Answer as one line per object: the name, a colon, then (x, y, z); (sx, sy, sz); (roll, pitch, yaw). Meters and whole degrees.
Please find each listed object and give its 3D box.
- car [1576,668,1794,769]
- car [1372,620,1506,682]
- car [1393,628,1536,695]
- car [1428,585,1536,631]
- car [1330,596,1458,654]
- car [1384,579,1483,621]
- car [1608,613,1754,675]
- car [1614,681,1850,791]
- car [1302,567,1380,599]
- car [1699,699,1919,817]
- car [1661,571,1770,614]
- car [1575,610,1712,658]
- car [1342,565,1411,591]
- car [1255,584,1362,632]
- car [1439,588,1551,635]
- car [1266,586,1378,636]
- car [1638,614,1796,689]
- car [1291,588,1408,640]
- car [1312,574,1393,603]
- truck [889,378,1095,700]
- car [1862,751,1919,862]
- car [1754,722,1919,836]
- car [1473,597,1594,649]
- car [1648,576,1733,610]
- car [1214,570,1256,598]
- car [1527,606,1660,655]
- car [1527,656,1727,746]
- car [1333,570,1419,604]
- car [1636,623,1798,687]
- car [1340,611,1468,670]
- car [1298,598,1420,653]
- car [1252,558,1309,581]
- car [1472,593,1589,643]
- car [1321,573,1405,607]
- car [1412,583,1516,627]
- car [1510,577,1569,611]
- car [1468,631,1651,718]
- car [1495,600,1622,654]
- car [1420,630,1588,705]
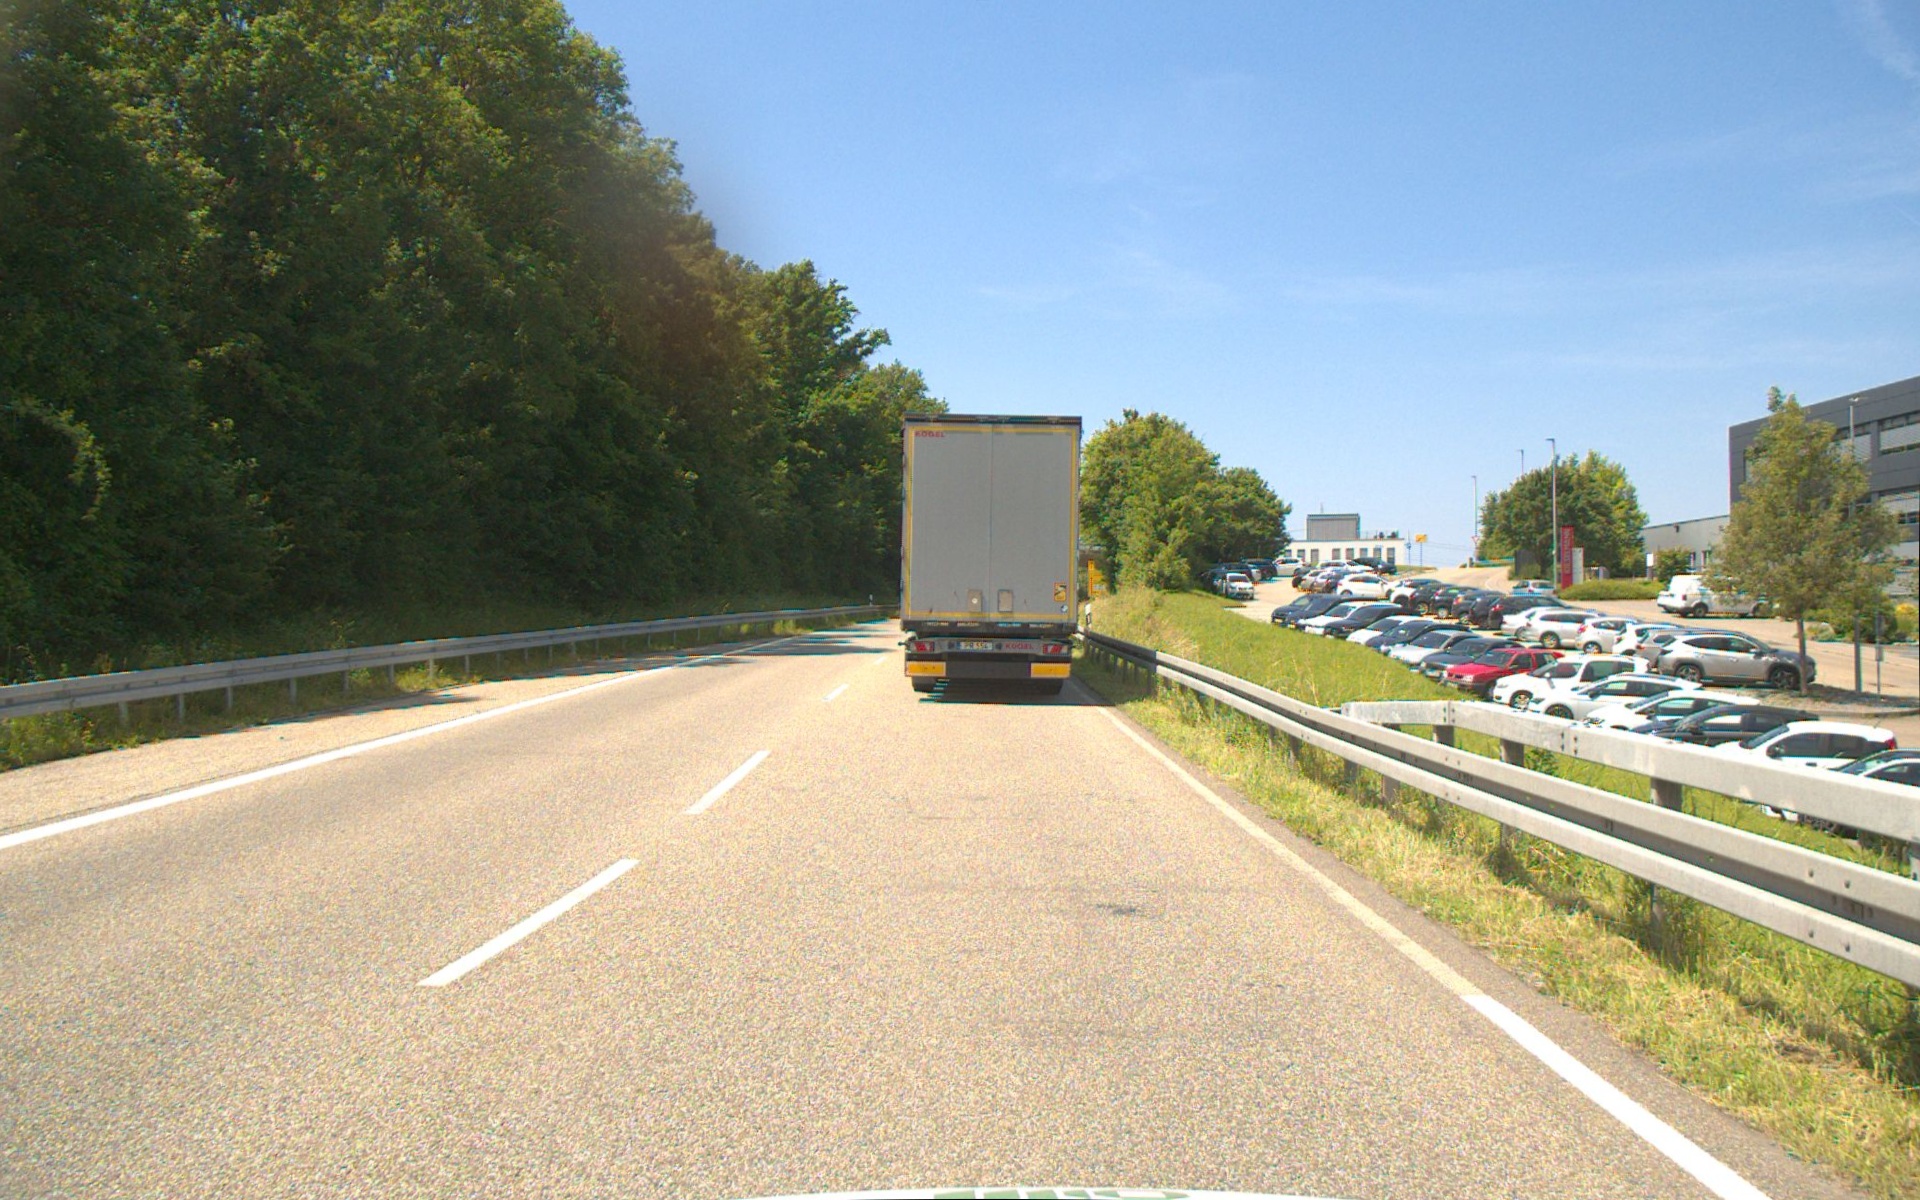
car: (16.325, 2.628, 37.358); (4.279, 1.585, 1.887); (6, 3, 24)
car: (15.646, 1.666, 53.910); (4.329, 1.714, 1.865); (3, 3, -37)
car: (15.385, 1.877, 50.379); (4.329, 1.714, 1.865); (3, 3, -37)
car: (24.577, 0.359, 77.932); (4.486, 1.656, 1.818); (7, 3, 27)
car: (15.822, 0.931, 60.272); (4.313, 1.714, 1.872); (4, 3, -29)
car: (24.137, -0.028, 84.311); (4.486, 1.656, 1.818); (7, 3, 27)
car: (24.815, 1.483, 56.970); (4.482, 1.656, 1.820); (3, 7, 26)
car: (16.154, 2.803, 34.785); (4.279, 1.585, 1.887); (6, 3, 24)
car: (23.636, -1.072, 102.594); (4.479, 1.656, 1.821); (4, 3, 21)
car: (16.569, 3.003, 31.682); (4.279, 1.585, 1.861); (6, 3, 24)
car: (36.767, -0.380, 80.581); (4.477, 1.983, 1.821); (0, 2, 1)
car: (24.790, 1.238, 60.000); (4.481, 1.503, 1.820); (-1, 4, 26)
car: (30.374, -1.601, 120.765); (4.494, 1.657, 1.814); (3, 0, 35)
car: (15.265, 0.363, 72.429); (4.313, 1.714, 1.872); (4, 3, -29)
car: (24.226, 0.505, 74.931); (4.486, 1.656, 1.818); (7, 3, 27)
car: (15.190, 0.471, 69.361); (4.313, 1.714, 1.872); (4, 3, -29)
car: (24.687, 1.649, 53.990); (4.485, 1.654, 1.821); (6, 11, 26)
car: (15.654, 0.561, 66.395); (4.313, 1.714, 1.872); (4, 3, -29)
car: (23.623, -0.690, 99.500); (4.478, 1.657, 1.821); (2, 1, 21)
truck: (0.433, -0.878, 27.825); (2.807, 4.435, 9.788); (1, 0, 0)
car: (16.660, 3.482, 25.895); (4.281, 1.481, 1.816); (7, 3, 27)
car: (16.320, 3.213, 28.875); (4.279, 1.481, 1.818); (6, 3, 24)
car: (24.037, 0.950, 69.309); (4.486, 1.656, 1.818); (7, 3, 27)
car: (37.148, -0.366, 84.158); (3.586, 1.615, 1.685); (0, 2, 1)
car: (16.274, -0.951, 98.075); (1.592, 1.376, 3.709); (5, 3, -3)
car: (24.202, 1.135, 63.249); (4.488, 1.546, 1.817); (2, 5, 31)
car: (16.432, 2.442, 40.793); (4.284, 1.585, 1.885); (7, 3, 29)
car: (23.571, -0.753, 93.696); (4.479, 1.657, 1.821); (3, 2, 21)
car: (23.500, 1.685, 51.419); (4.482, 1.656, 1.820); (1, 4, 26)
car: (15.241, 1.401, 56.689); (4.329, 1.714, 1.865); (3, 3, -37)
car: (15.306, 0.967, 63.407); (4.313, 1.714, 1.872); (4, 3, -29)
car: (26.296, -2.505, 135.635); (4.313, 1.714, 1.872); (0, 5, -28)
car: (24.756, 0.767, 71.750); (4.486, 1.656, 1.818); (7, 3, 27)
car: (23.466, -0.609, 96.294); (4.479, 1.657, 1.821); (4, 2, 21)
car: (24.611, 0.213, 80.766); (4.486, 1.656, 1.818); (7, 3, 27)
car: (31.121, -0.317, 88.887); (1.769, 1.691, 4.001); (2, 0, 1)
car: (15.952, 1.938, 44.047); (4.357, 1.714, 1.888); (6, 3, 22)
car: (24.063, 1.044, 66.525); (4.486, 1.656, 1.818); (7, 3, 27)
car: (15.595, 1.928, 47.420); (4.302, 1.714, 1.877); (4, 3, -22)
